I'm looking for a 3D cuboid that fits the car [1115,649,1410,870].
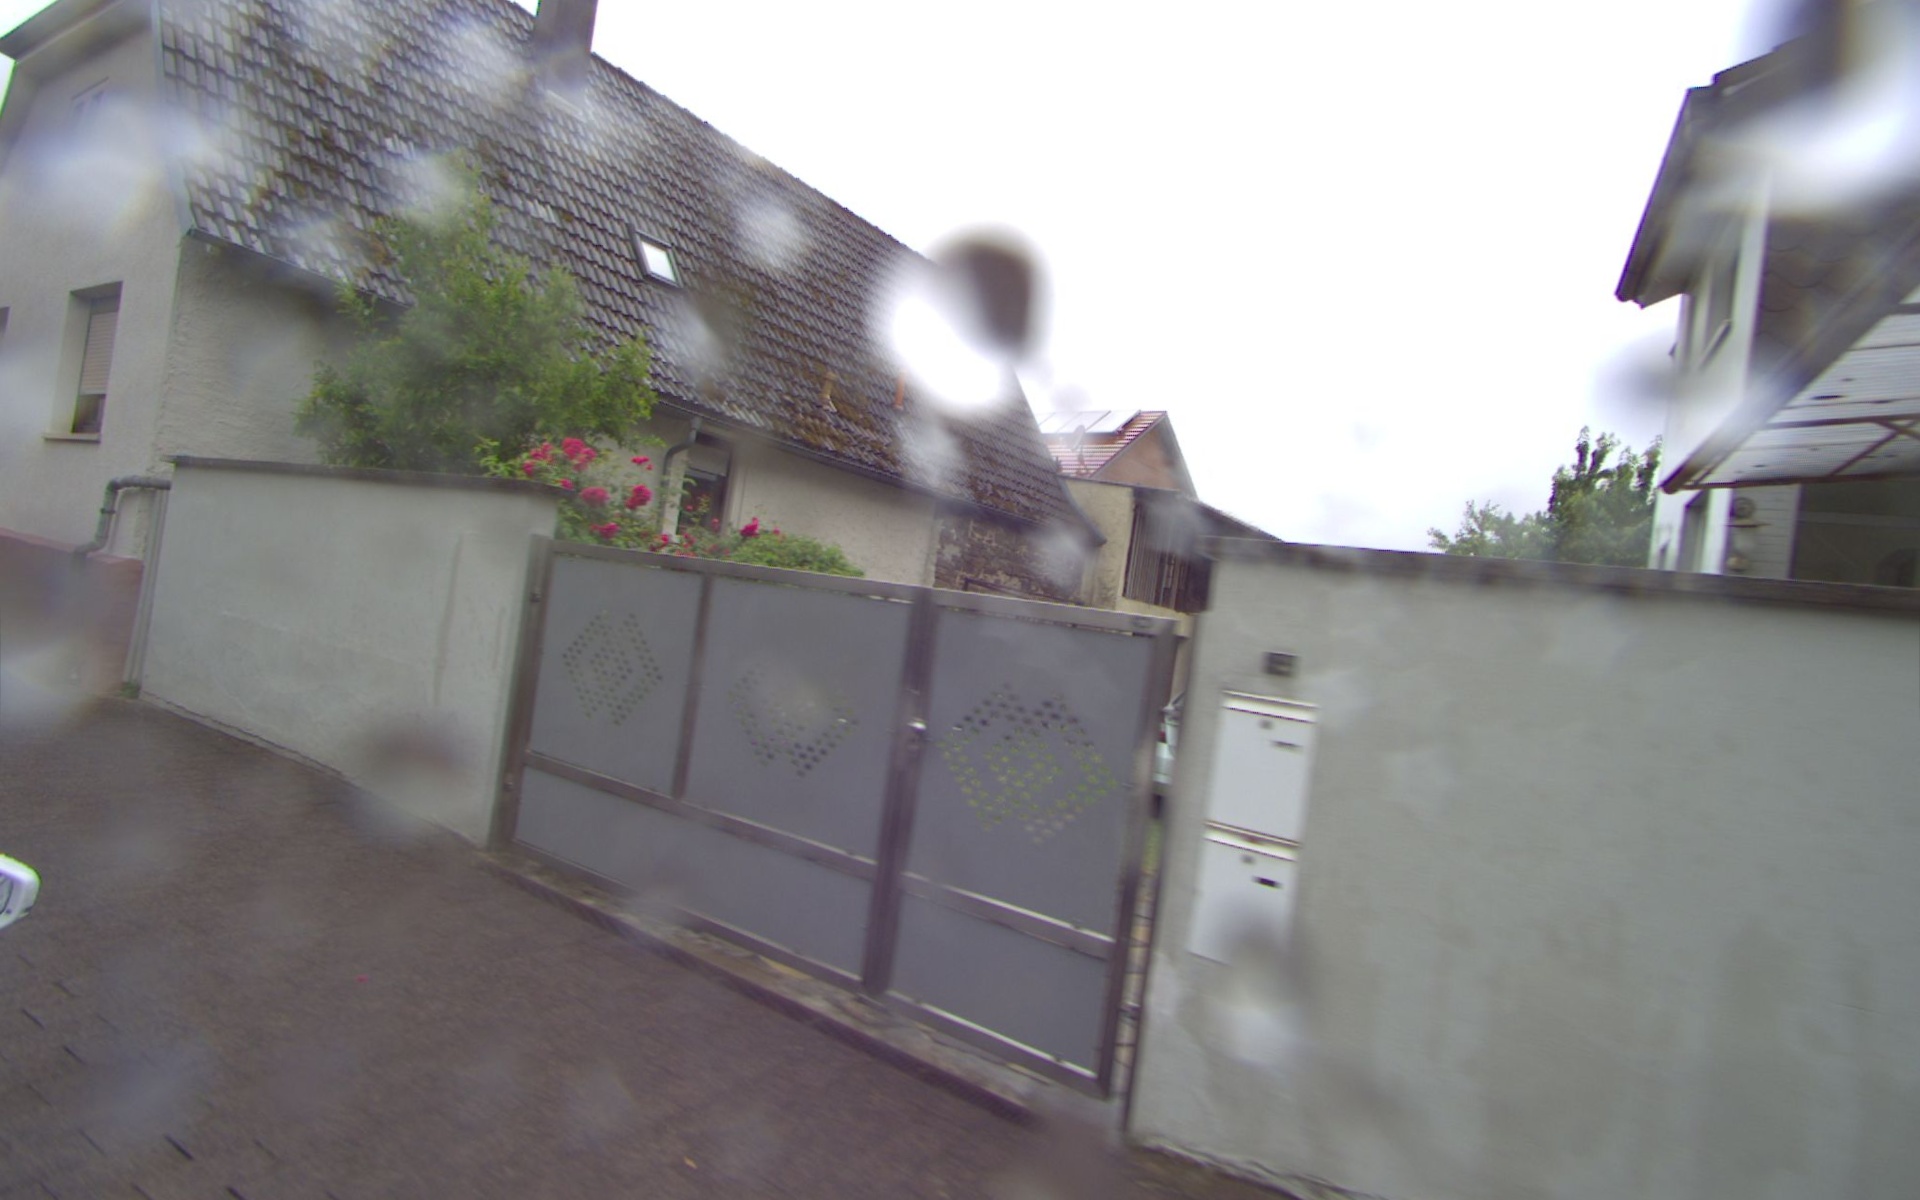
[{"bbox_3d":[3.064,1.460,9.628,1.711,1.474,3.710,6,-4,31],"label":"car"}]
